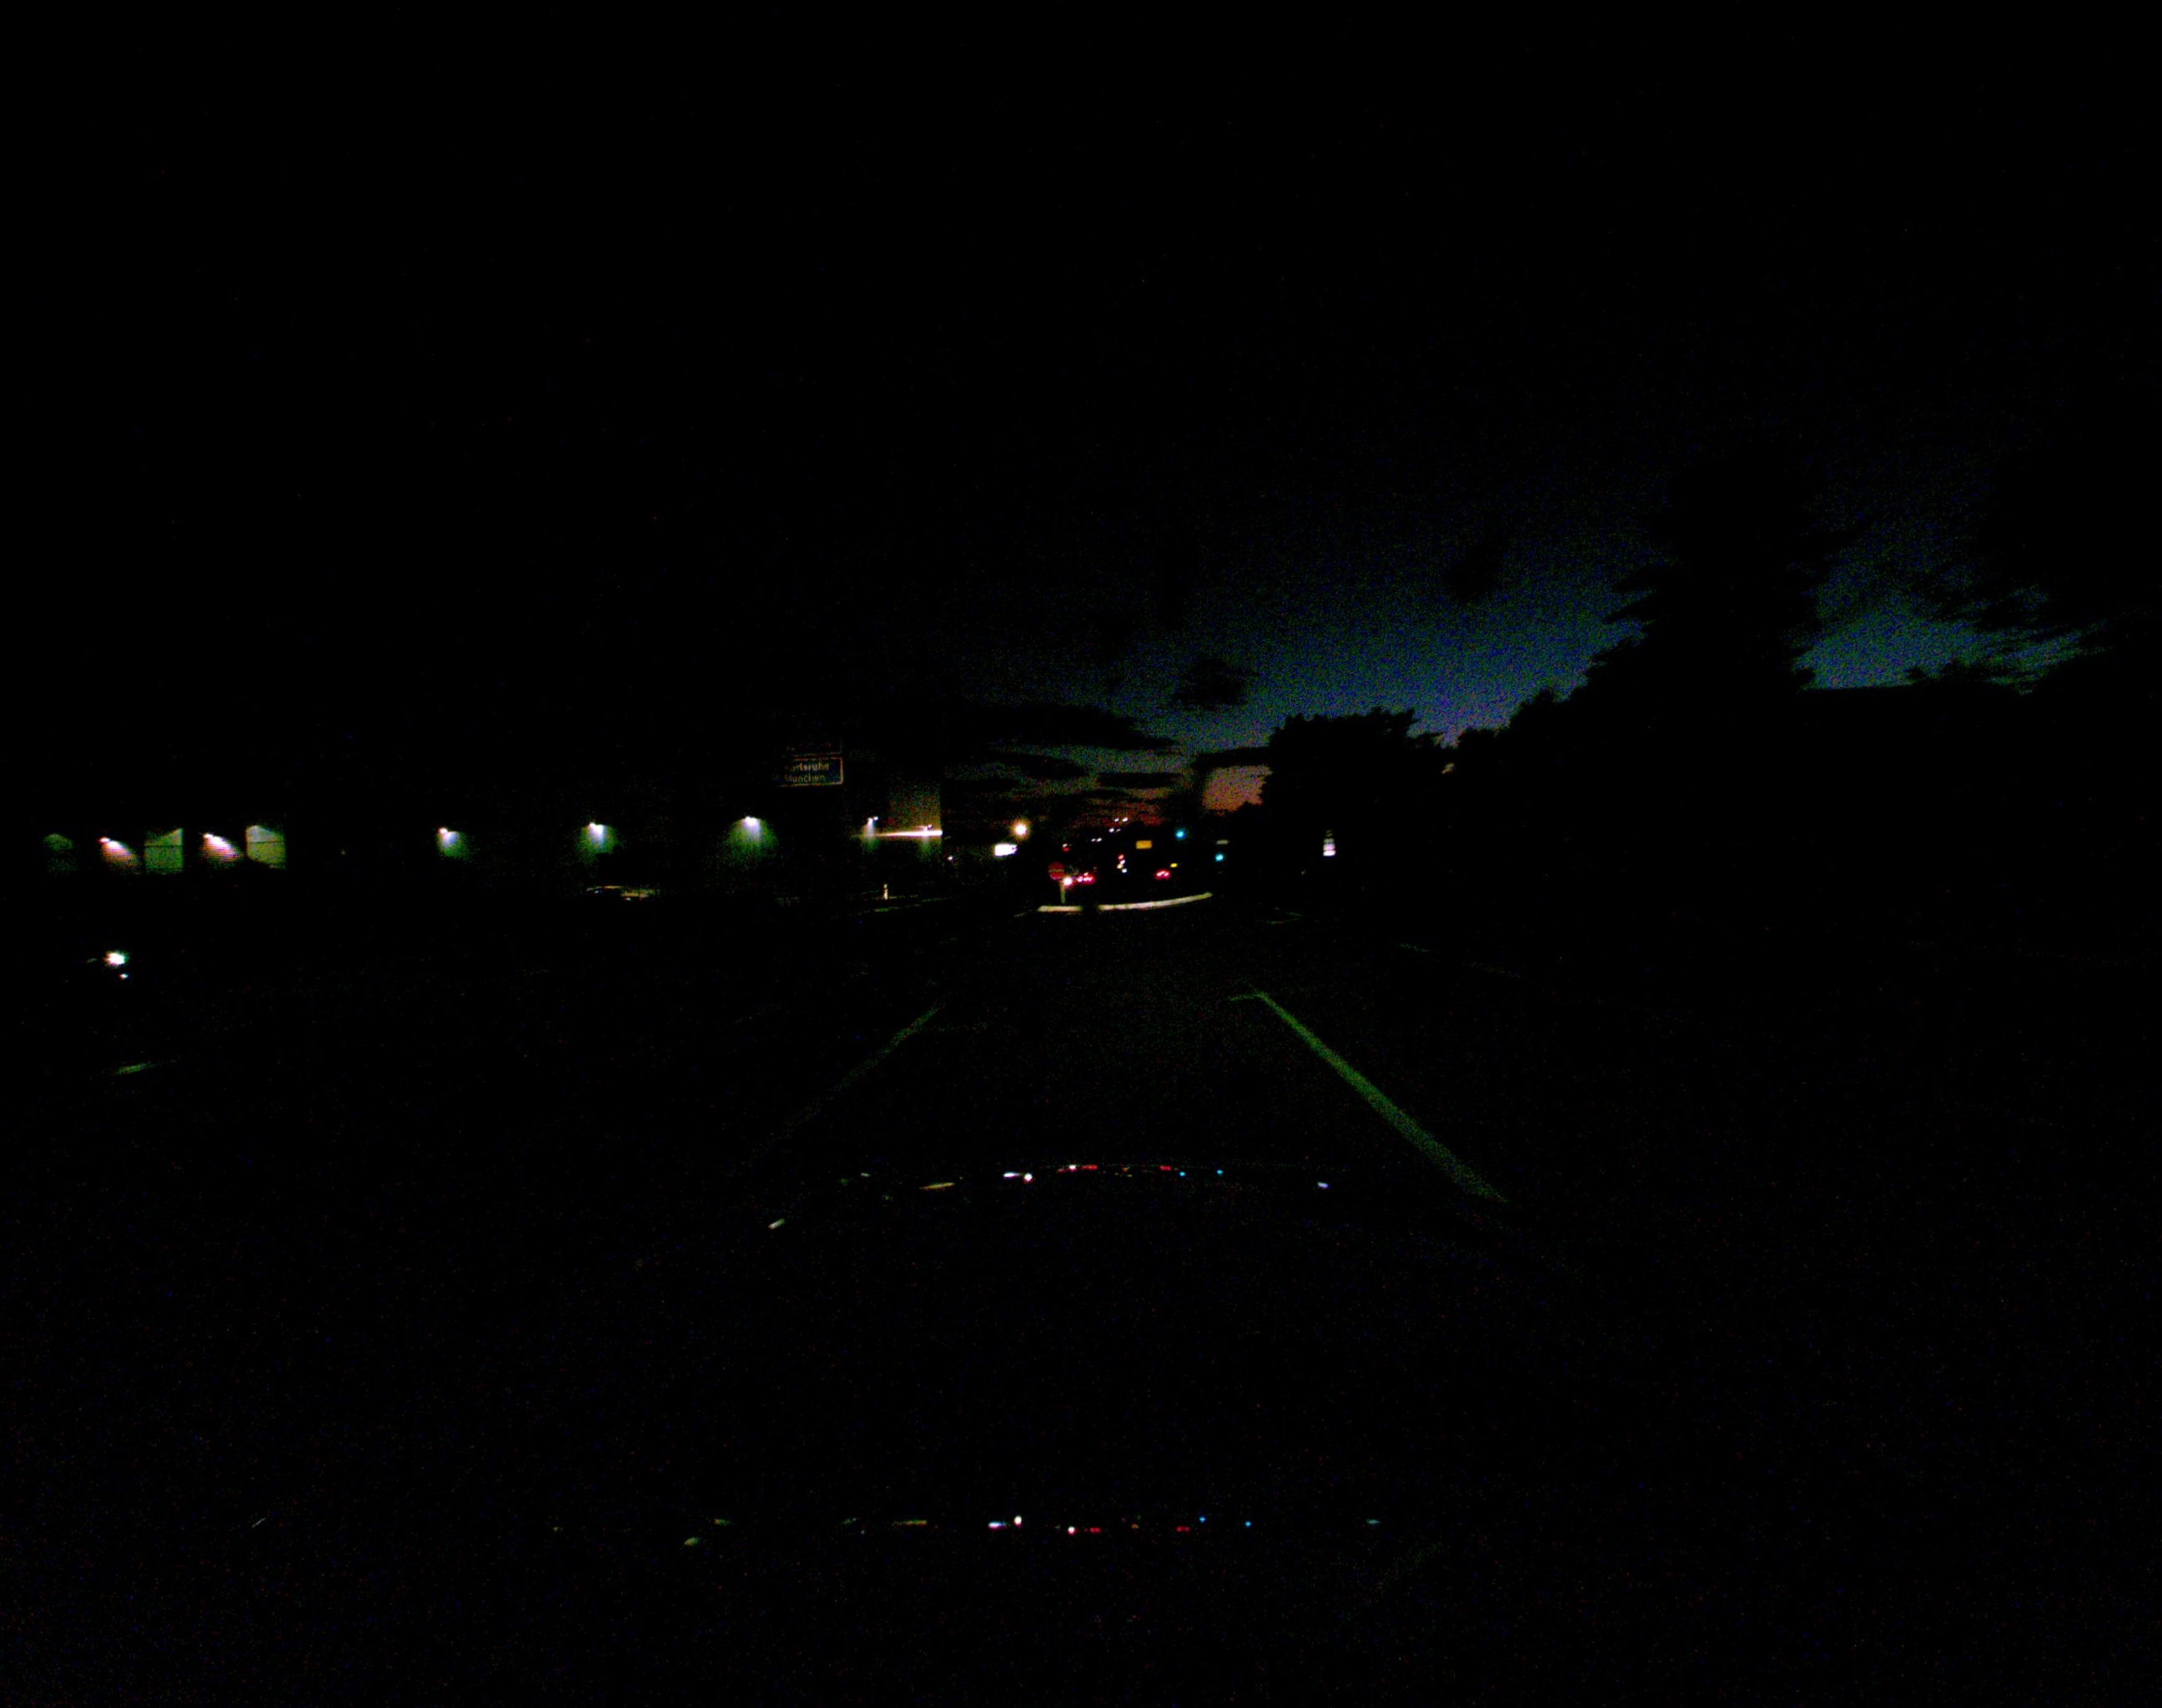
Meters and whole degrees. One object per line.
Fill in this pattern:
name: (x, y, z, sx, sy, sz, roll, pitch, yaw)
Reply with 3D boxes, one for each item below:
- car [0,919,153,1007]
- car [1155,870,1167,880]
car: (-20.877, 2.151, 15.932, 3.836, 1.475, 1.708, -3, -2, 7)
car: (15.215, 3.965, 154.367, 1.928, 1.646, 4.002, -2, 0, 2)
